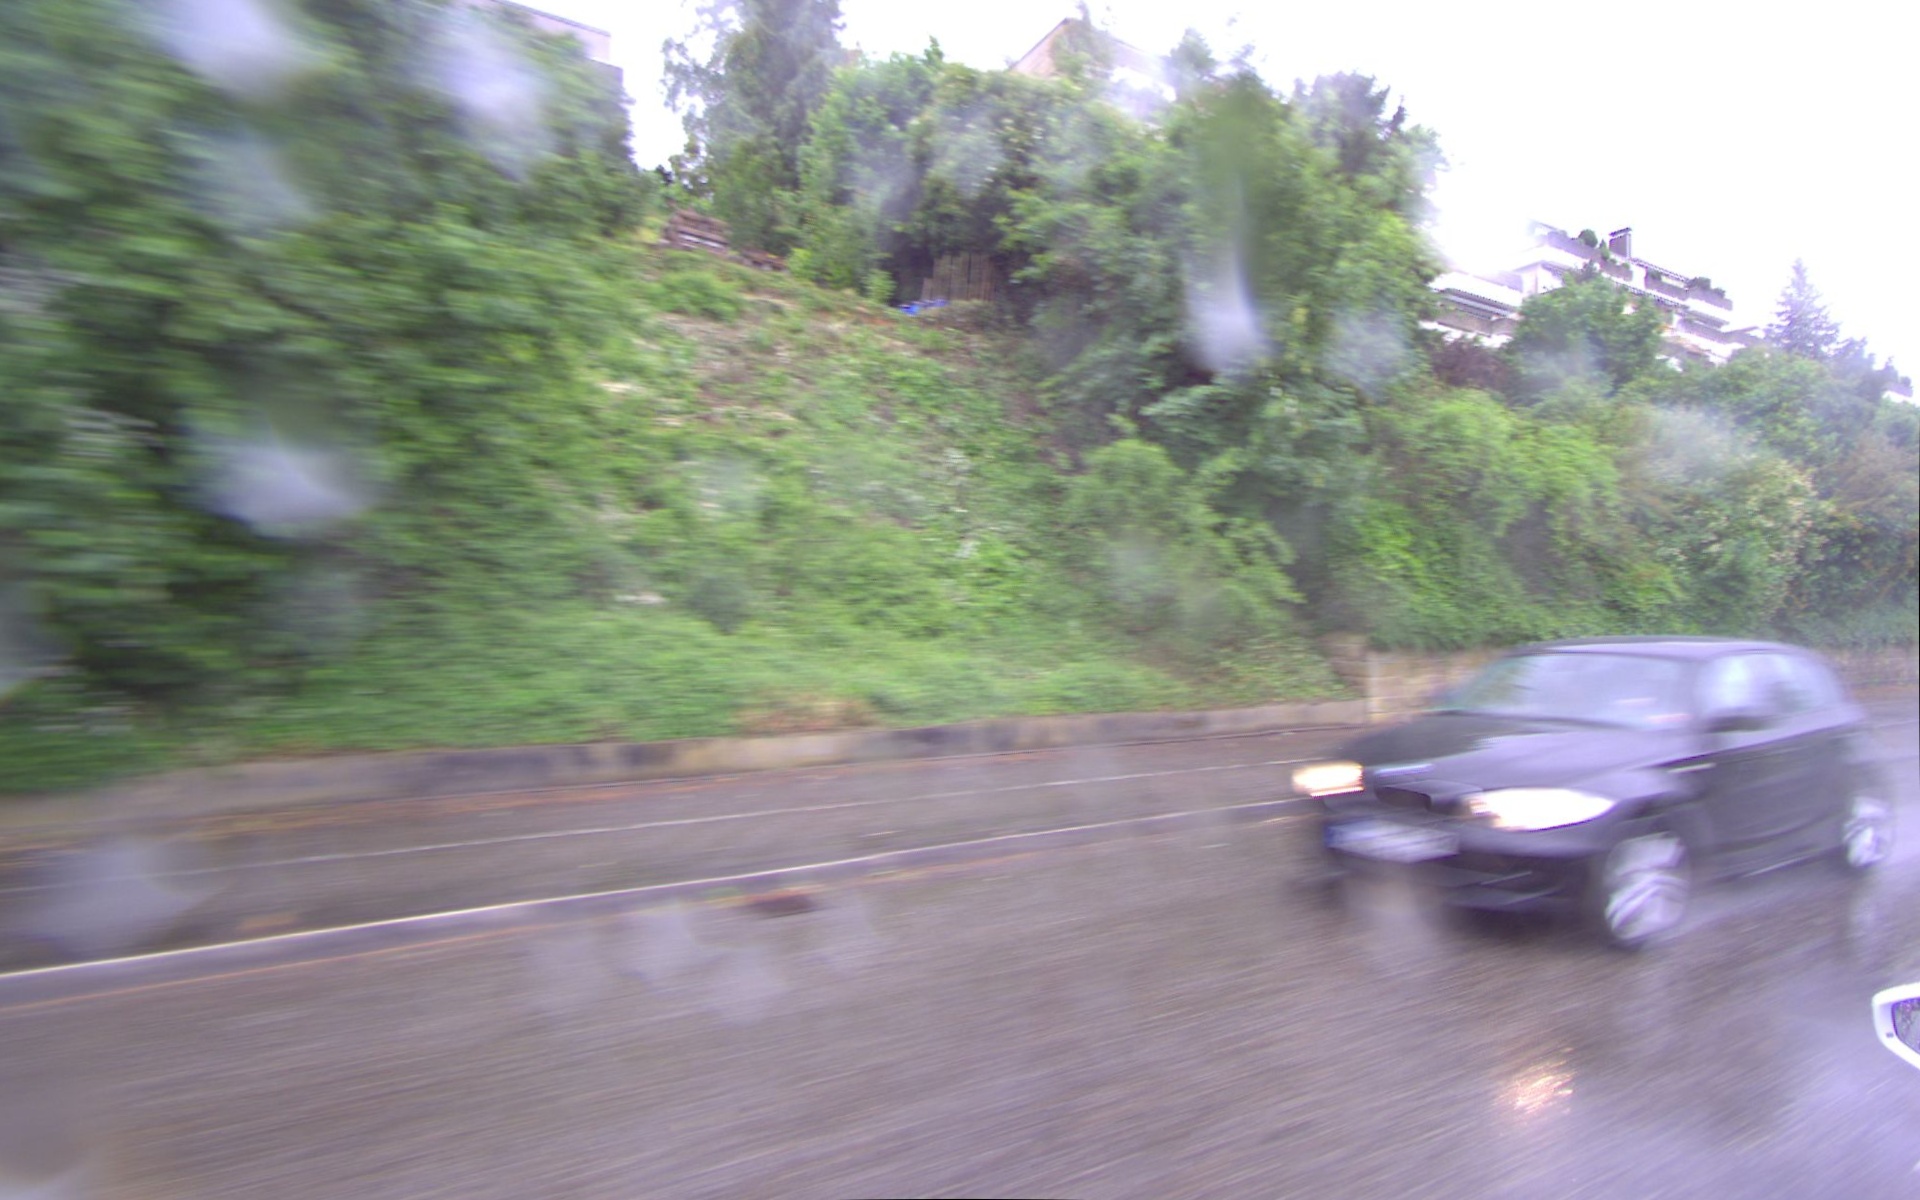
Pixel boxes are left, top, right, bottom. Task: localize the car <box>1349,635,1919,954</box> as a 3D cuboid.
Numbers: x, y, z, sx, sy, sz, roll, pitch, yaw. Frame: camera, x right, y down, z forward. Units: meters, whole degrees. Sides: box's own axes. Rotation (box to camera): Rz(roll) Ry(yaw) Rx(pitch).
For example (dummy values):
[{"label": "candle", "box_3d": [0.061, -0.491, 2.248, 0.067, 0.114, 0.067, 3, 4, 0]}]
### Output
[{"label": "car", "box_3d": [4.328, 0.916, 6.179, 3.945, 1.369, 1.645, 2, -2, -33]}]
